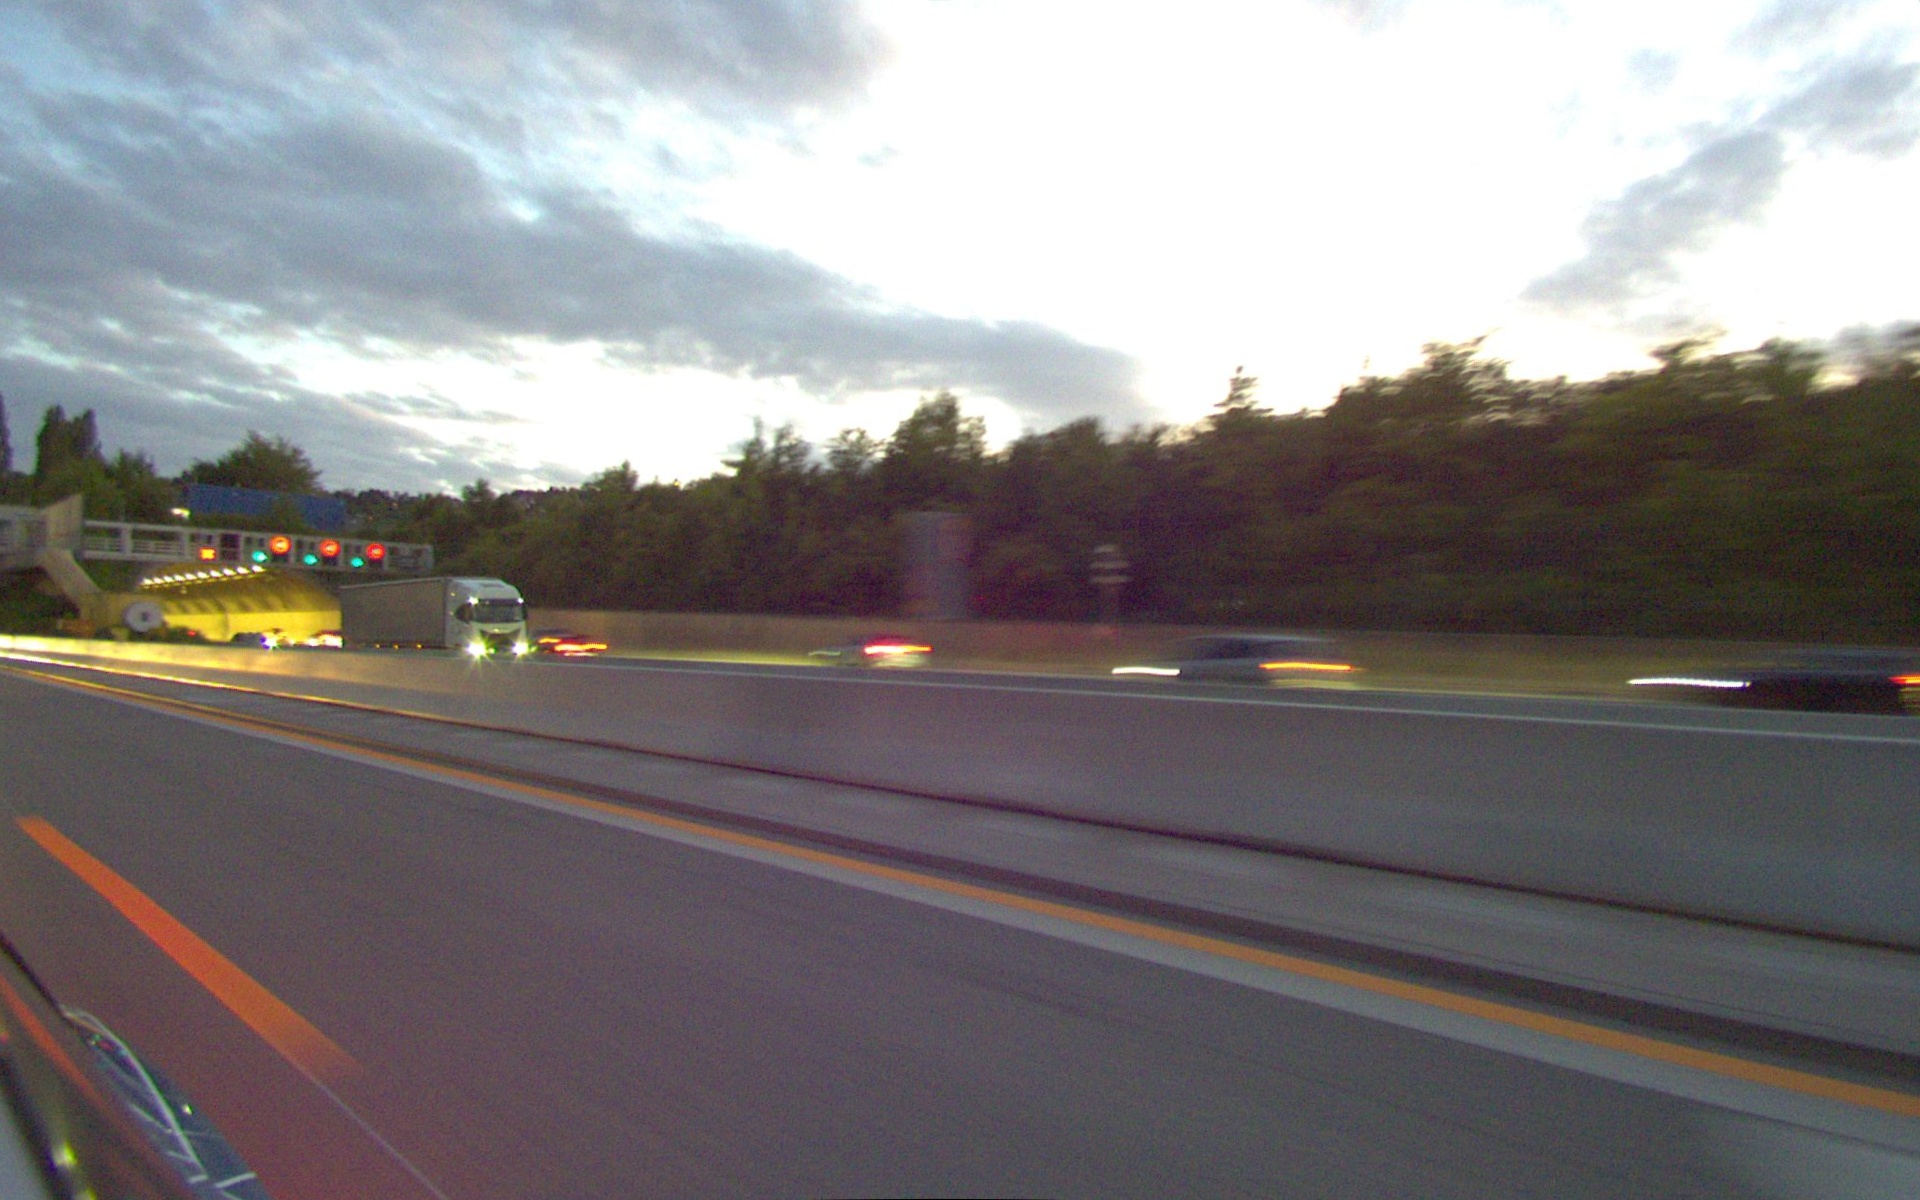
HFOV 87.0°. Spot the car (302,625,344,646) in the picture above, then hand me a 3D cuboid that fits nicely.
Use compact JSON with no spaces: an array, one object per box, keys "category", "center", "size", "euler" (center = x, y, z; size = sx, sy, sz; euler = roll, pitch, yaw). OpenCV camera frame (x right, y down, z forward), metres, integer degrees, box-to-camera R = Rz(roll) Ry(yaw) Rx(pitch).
[{"category":"car","center":[-50.407,2.768,80.069],"size":[4.647,1.481,1.654],"euler":[-1,0,43]}]

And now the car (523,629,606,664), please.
[{"category":"car","center":[-18.705,2.174,47.769],"size":[4.669,1.465,1.732],"euler":[-1,0,43]}]

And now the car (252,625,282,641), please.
[{"category":"car","center":[-68.772,3.283,100.395],"size":[4.095,1.481,1.560],"euler":[-1,0,43]}]

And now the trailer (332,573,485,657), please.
[{"category":"trailer","center":[-28.014,0.702,51.005],"size":[11.829,3.811,2.770],"euler":[-1,0,41]}]

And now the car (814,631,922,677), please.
[{"category":"car","center":[-3.492,1.956,37.845],"size":[4.178,1.519,1.646],"euler":[-1,0,42]}]

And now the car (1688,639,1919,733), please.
[{"category":"car","center":[16.498,1.550,18.761],"size":[4.701,1.496,1.791],"euler":[-1,0,43]}]

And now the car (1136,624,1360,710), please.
[{"category":"car","center":[6.749,1.504,24.110],"size":[4.807,1.751,1.880],"euler":[-1,0,43]}]

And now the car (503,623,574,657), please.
[{"category":"car","center":[-23.262,2.185,55.770],"size":[4.667,1.735,1.732],"euler":[-1,0,41]}]

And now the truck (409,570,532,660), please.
[{"category":"truck","center":[-22.349,0.647,46.075],"size":[6.299,3.803,2.774],"euler":[-1,0,41]}]
